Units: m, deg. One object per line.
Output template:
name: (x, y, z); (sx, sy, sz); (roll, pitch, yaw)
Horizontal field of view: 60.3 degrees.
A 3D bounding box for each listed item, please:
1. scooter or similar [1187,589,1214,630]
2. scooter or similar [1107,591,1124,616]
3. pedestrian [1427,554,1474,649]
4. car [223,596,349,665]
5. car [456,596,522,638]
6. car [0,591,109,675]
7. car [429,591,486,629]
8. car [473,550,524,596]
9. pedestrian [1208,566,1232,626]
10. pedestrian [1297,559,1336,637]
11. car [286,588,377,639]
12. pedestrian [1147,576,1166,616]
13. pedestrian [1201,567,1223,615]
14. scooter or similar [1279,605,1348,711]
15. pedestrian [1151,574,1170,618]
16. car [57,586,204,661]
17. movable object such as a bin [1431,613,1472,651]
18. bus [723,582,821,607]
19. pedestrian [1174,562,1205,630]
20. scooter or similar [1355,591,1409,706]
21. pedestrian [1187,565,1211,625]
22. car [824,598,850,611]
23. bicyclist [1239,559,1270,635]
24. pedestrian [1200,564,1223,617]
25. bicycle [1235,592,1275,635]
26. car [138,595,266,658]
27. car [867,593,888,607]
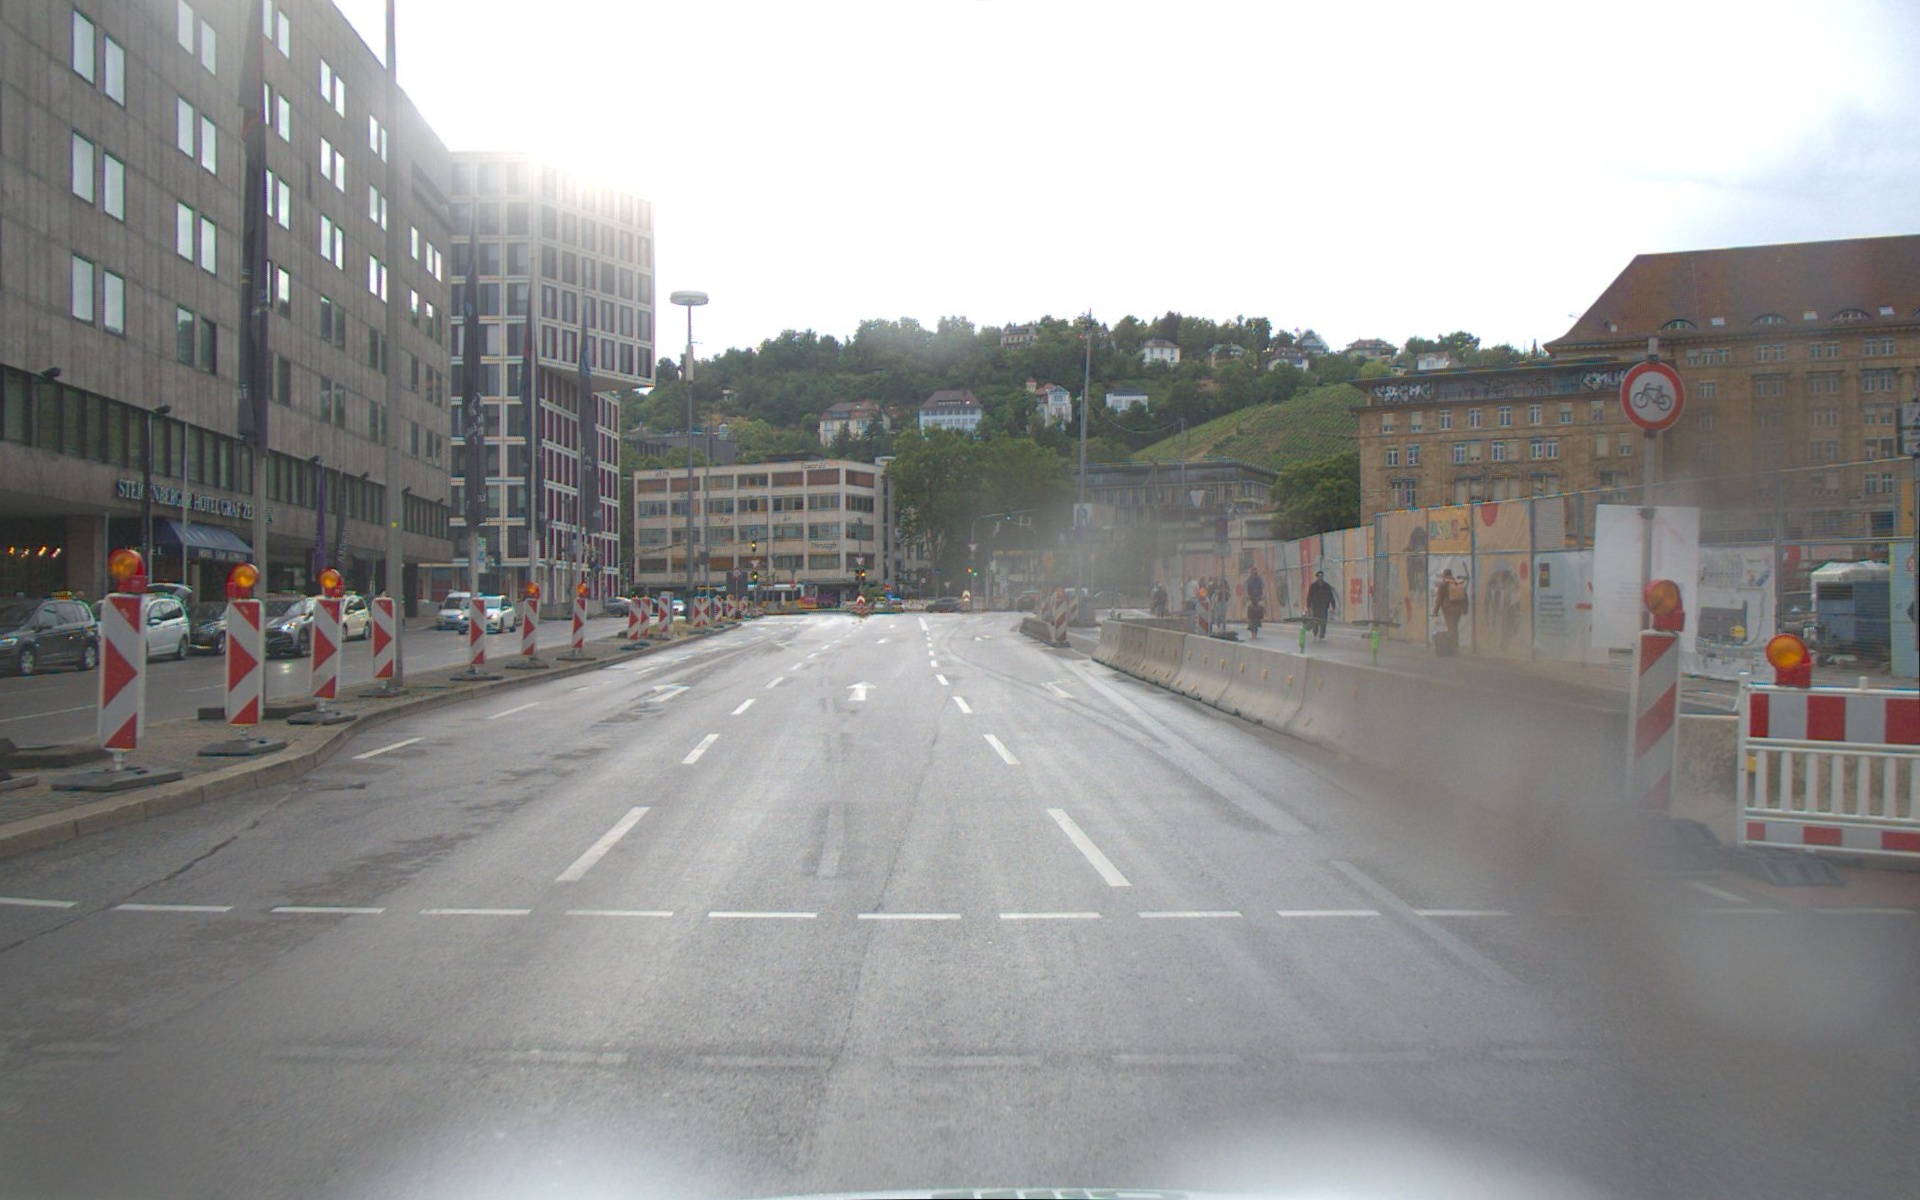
scooter or similar: (7.185, 0.276, 49.461); (0.651, 1.219, 1.044); (-1, 0, 1)
scooter or similar: (7.402, 0.155, 78.814); (0.459, 1.204, 1.412); (-1, 0, -10)
pedestrian: (10.150, 0.024, 34.231); (0.751, 1.928, 0.654); (-1, 0, 0)
car: (-18.089, 0.770, 44.603); (1.739, 1.698, 4.497); (-2, 0, -3)
car: (-19.688, 0.677, 69.271); (1.788, 1.698, 4.495); (-1, 0, -5)
car: (-20.473, 0.678, 36.278); (1.720, 1.711, 4.224); (-1, 1, -5)
car: (-24.370, 0.460, 80.332); (1.739, 1.793, 4.367); (-1, 0, -5)
car: (-24.161, -1.395, 86.797); (1.739, 2.368, 4.367); (-1, 0, -5)
pedestrian: (8.480, -0.131, 53.925); (0.669, 1.922, 0.693); (-1, 0, 1)
pedestrian: (8.899, -0.043, 41.311); (0.831, 1.928, 0.662); (-1, 0, 0)
car: (-22.372, 0.473, 59.054); (1.780, 1.727, 4.574); (-1, 0, -4)
pedestrian: (8.615, -0.180, 72.599); (0.670, 1.771, 0.907); (-1, 0, -2)
pedestrian: (10.050, -0.366, 65.908); (0.689, 1.899, 0.990); (-1, 0, 0)
scooter or similar: (4.643, 0.745, 21.765); (0.515, 1.357, 1.022); (-1, 0, -12)
pedestrian: (8.142, -0.170, 67.130); (0.629, 1.771, 0.837); (-1, 0, -2)
car: (-21.092, 0.566, 42.259); (1.720, 1.789, 4.706); (-1, 0, -5)
movable object such as a bin: (10.047, 0.647, 33.839); (0.585, 0.747, 0.778); (-1, 0, -1)
bus: (-22.558, -0.627, 197.218); (13.719, 2.798, 3.194); (-1, 0, 41)
pedestrian: (7.014, -0.131, 50.529); (0.786, 2.051, 0.972); (-1, 0, 1)
scooter or similar: (5.146, 0.570, 20.161); (0.481, 1.357, 1.025); (-1, 0, 23)
pedestrian: (7.776, -0.158, 53.939); (0.669, 1.922, 0.693); (-1, 0, 1)
car: (-14.405, 0.504, 193.880); (1.709, 1.518, 4.043); (-1, 0, -26)
bicyclist: (8.021, -0.087, 45.104); (0.712, 2.049, 0.599); (-1, 0, 0)
pedestrian: (9.220, -0.348, 60.660); (0.670, 1.922, 0.693); (-1, 0, -3)
bicycle: (8.031, 0.354, 45.067); (0.750, 1.131, 1.981); (-1, 0, 0)
car: (-21.822, 0.727, 47.814); (1.865, 1.688, 4.613); (-1, 0, -4)
car: (-9.120, -0.008, 182.518); (1.700, 1.518, 4.064); (-1, 0, -13)
